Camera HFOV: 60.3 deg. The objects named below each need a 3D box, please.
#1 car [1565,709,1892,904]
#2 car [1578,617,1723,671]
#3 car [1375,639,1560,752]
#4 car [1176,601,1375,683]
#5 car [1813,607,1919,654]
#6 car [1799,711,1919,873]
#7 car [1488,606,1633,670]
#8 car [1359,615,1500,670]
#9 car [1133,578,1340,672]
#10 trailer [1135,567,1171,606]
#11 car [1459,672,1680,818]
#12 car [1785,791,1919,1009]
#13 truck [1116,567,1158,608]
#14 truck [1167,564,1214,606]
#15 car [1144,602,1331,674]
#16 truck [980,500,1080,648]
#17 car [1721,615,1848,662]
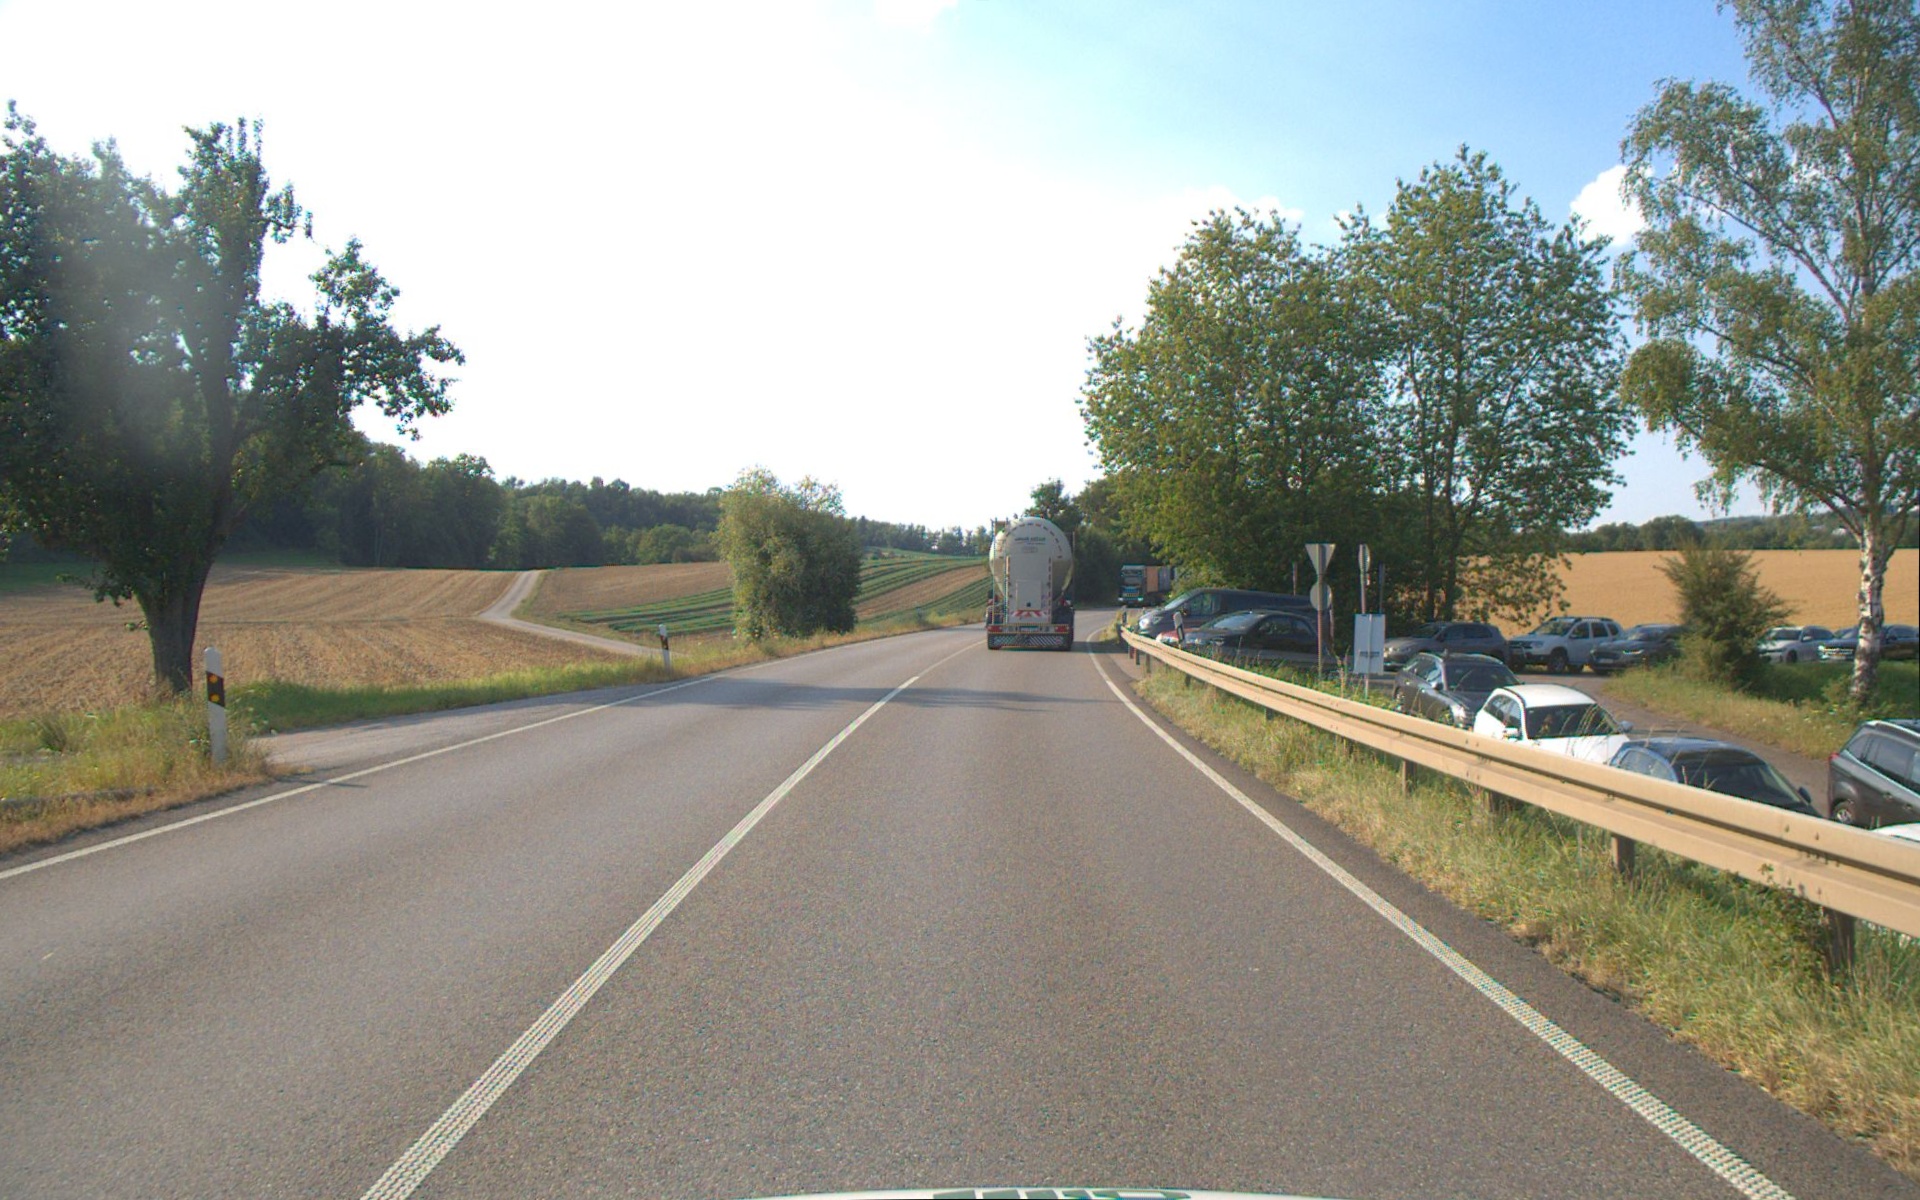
[{"bbox_3d":[9.427,2.458,20.803,1.853,1.586,4.783,-3,2,0],"label":"car"},{"bbox_3d":[20.152,1.285,48.208,4.537,1.466,1.789,2,0,-35],"label":"car"},{"bbox_3d":[9.449,1.719,31.212,1.854,1.586,4.782,-3,2,-1],"label":"car"},{"bbox_3d":[7.124,0.955,37.269,4.264,1.535,1.704,4,0,-30],"label":"car"},{"bbox_3d":[30.675,1.041,55.793,3.886,1.466,1.790,2,0,-35],"label":"car"},{"bbox_3d":[12.205,2.351,19.785,1.853,1.704,4.781,0,0,-1],"label":"car"},{"bbox_3d":[18.369,1.135,50.560,4.152,1.778,1.797,-1,1,-26],"label":"car"},{"bbox_3d":[13.696,1.245,48.255,3.670,1.466,1.798,2,0,-25],"label":"car"},{"bbox_3d":[7.292,0.646,43.917,5.036,1.977,1.975,5,1,0],"label":"car"},{"bbox_3d":[20.371,-1.439,174.271,2.314,3.989,8.967,0,1,16],"label":"trailer"},{"bbox_3d":[9.380,2.168,25.883,1.852,1.586,4.785,-3,2,3],"label":"car"},{"bbox_3d":[9.657,2.892,14.811,1.855,1.586,4.779,-3,2,-4],"label":"car"},{"bbox_3d":[17.689,-1.279,165.076,2.338,3.989,10.167,0,1,16],"label":"truck"},{"bbox_3d":[24.452,-1.626,175.171,3.116,4.301,13.182,-1,1,16],"label":"truck"},{"bbox_3d":[6.761,0.936,40.190,4.259,1.424,1.706,4,1,-27],"label":"car"},{"bbox_3d":[2.284,-0.765,53.906,2.832,4.215,13.176,0,0,2],"label":"truck"},{"bbox_3d":[28.631,1.330,57.406,4.588,1.533,1.976,1,0,-34],"label":"car"}]
